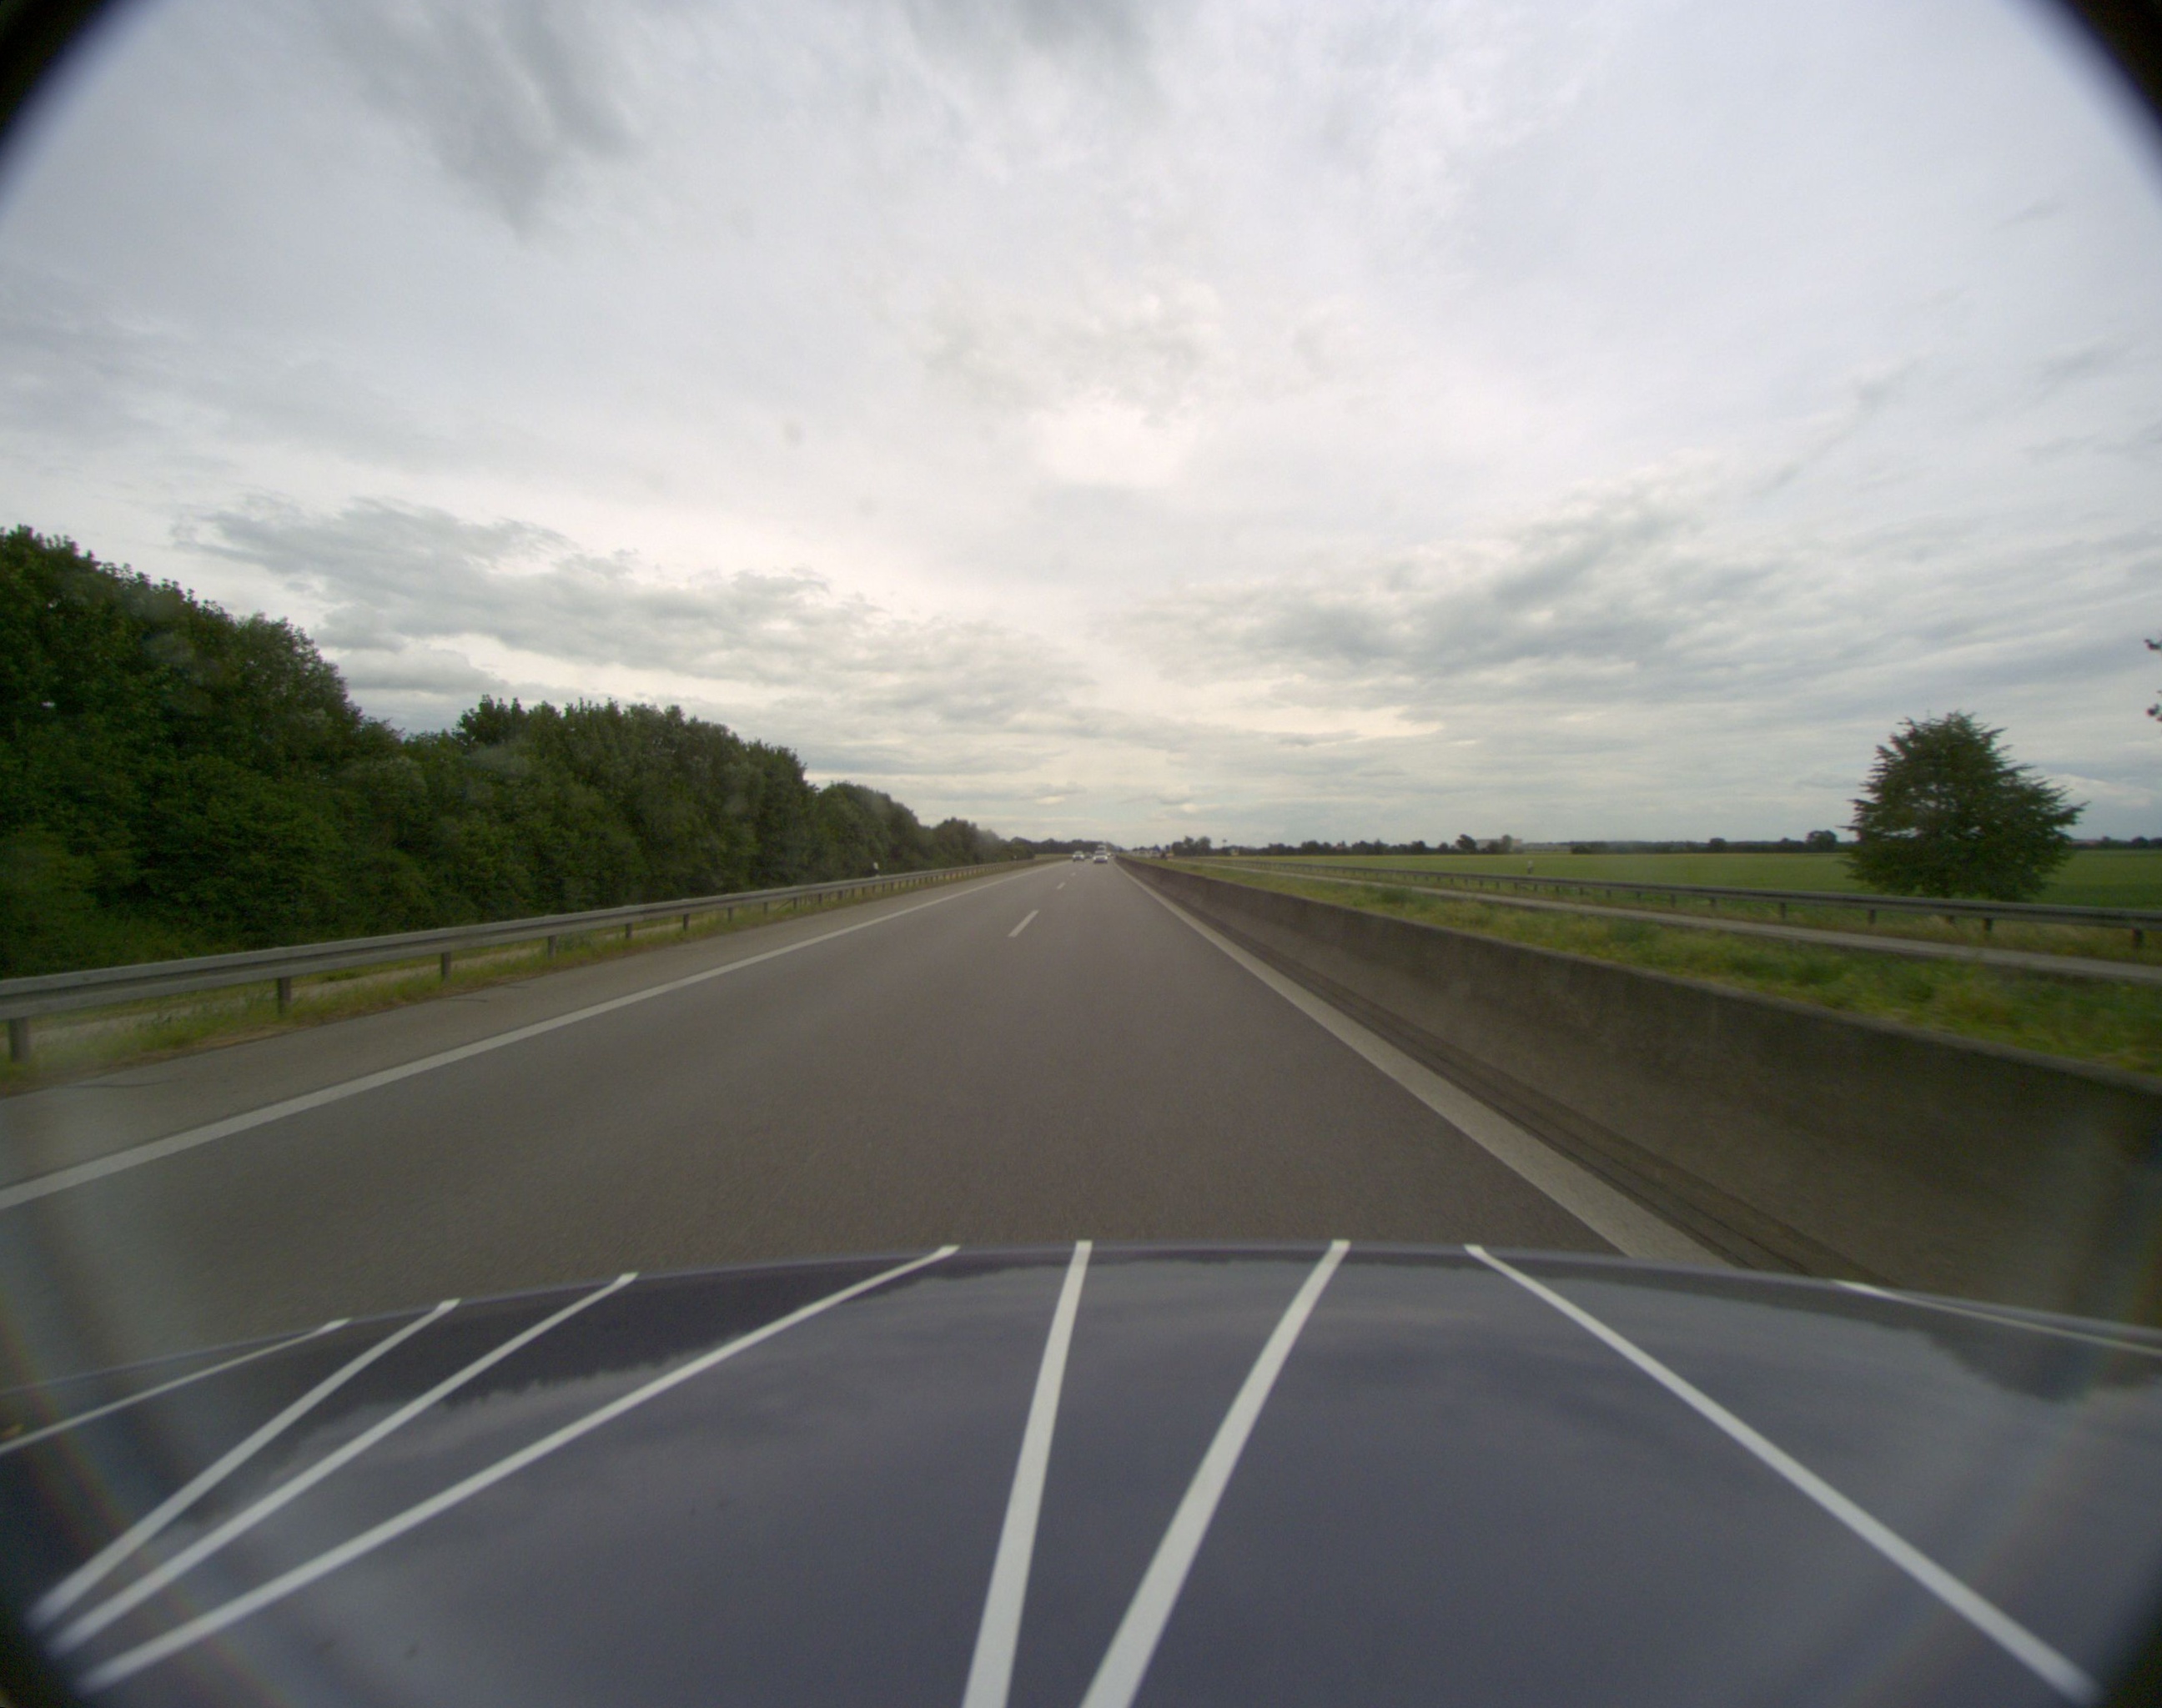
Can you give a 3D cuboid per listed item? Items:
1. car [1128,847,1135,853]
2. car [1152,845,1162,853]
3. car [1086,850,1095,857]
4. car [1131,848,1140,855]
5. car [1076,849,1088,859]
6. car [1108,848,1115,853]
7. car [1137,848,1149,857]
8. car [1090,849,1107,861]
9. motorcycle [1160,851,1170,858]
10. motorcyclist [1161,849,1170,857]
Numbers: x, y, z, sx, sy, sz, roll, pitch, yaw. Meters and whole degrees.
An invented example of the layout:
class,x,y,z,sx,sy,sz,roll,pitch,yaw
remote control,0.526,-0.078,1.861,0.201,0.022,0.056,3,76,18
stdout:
class,x,y,z,sx,sy,sz,roll,pitch,yaw
car,16.884,-1.352,252.999,1.952,1.684,5.174,1,1,2
car,16.398,-1.038,163.825,1.840,1.617,4.691,1,1,2
car,2.172,-0.176,173.042,1.915,1.553,4.288,-1,1,3
car,12.159,-0.509,169.835,1.870,1.565,4.693,0,0,0
car,0.151,-0.033,128.861,1.915,1.553,4.288,-1,1,3
car,8.849,-1.032,222.344,1.915,1.553,4.288,-1,1,3
car,11.462,-0.316,141.752,1.870,1.565,4.693,0,0,0
car,2.305,0.134,99.396,1.916,1.553,4.286,-1,1,-2
motorcycle,14.974,0.089,135.065,1.570,1.072,2.982,1,1,1
motorcyclist,14.980,-0.215,135.041,1.570,1.364,1.252,1,1,1
